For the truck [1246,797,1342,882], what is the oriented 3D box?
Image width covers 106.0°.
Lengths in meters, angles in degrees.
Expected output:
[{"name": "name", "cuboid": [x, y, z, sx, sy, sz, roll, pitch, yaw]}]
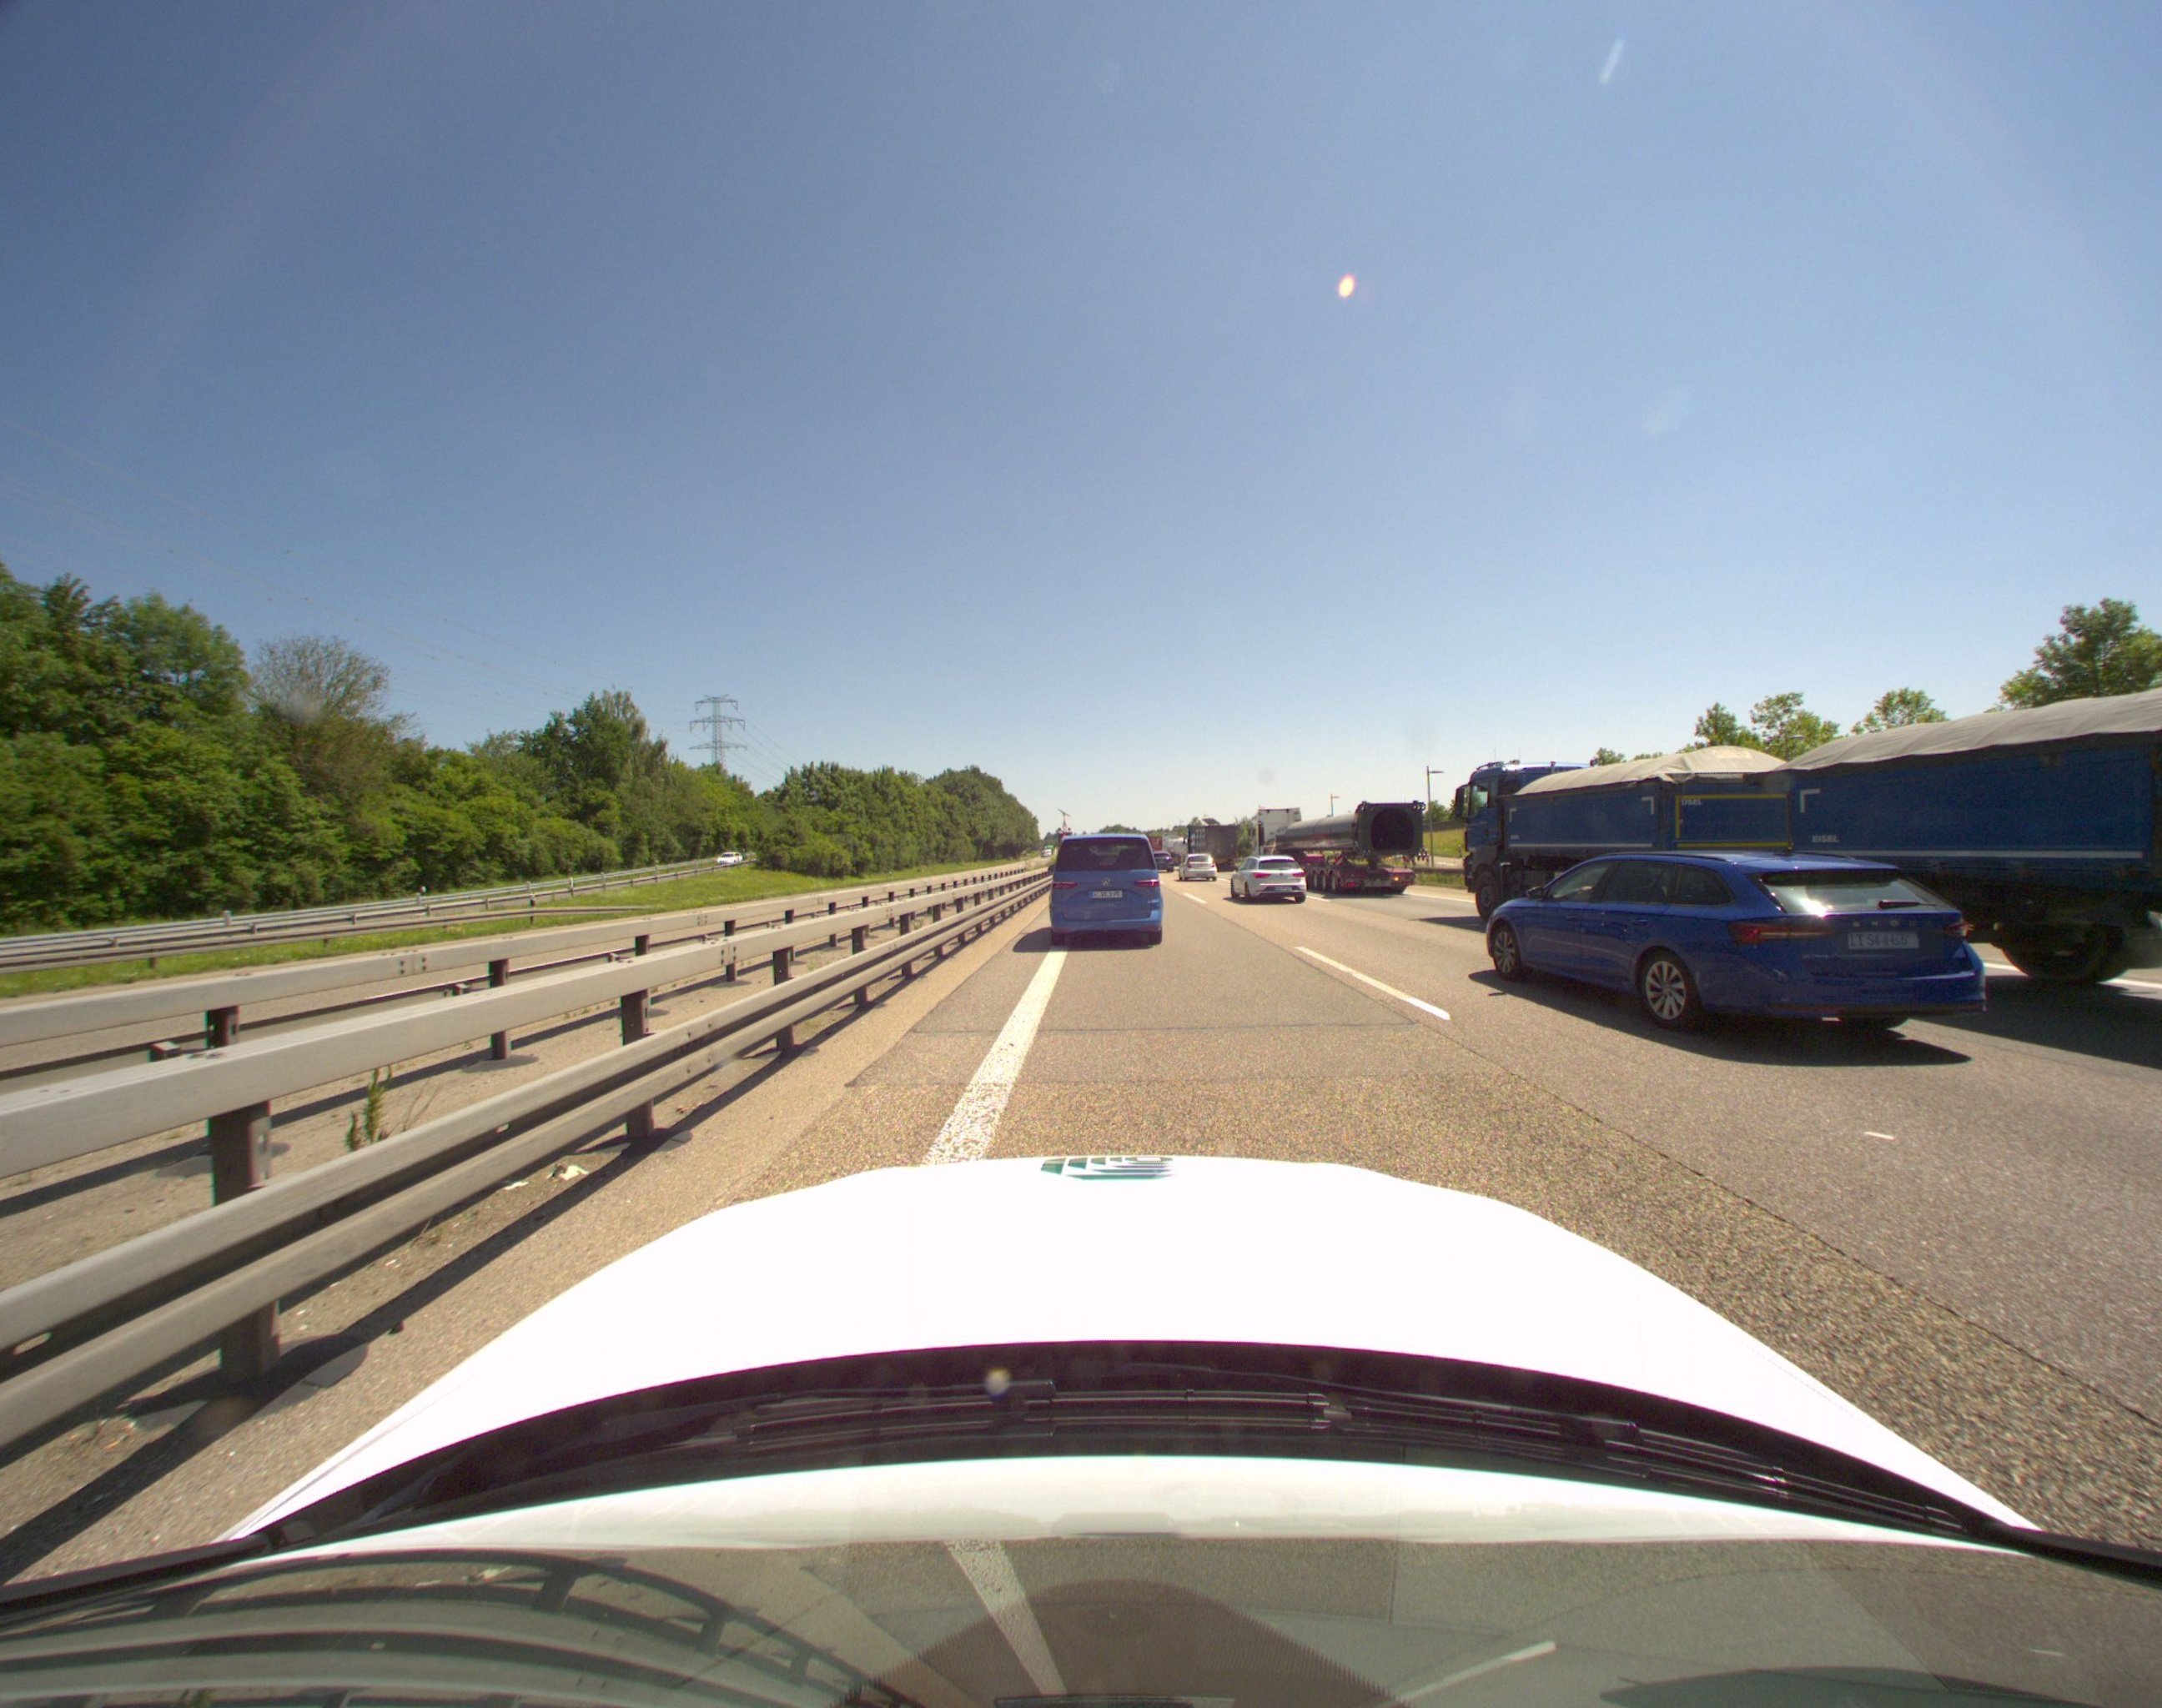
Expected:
[{"name": "truck", "cuboid": [11.133, -0.662, 43.405, 3.609, 4.095, 7.532, 0, -1, 4]}]

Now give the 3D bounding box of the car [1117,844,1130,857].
[{"name": "car", "cuboid": [8.646, -0.694, 166.593, 2.541, 2.717, 5.623, 0, -1, 1]}]

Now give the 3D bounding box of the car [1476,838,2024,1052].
[{"name": "car", "cuboid": [5.609, 0.649, 7.748, 1.699, 1.441, 4.430, 0, -1, 2]}]

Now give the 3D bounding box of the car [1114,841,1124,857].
[{"name": "car", "cuboid": [11.992, -1.421, 256.514, 2.706, 4.713, 11.563, 0, -1, 2]}]

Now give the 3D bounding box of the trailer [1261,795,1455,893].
[{"name": "trailer", "cuboid": [10.531, -0.194, 33.711, 3.630, 3.079, 15.787, 0, -1, 4]}]

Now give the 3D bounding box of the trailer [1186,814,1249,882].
[{"name": "trailer", "cuboid": [11.305, -0.372, 68.917, 3.632, 5.136, 13.083, 0, -1, 3]}]

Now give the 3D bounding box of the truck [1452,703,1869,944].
[{"name": "truck", "cuboid": [9.665, -0.436, 14.872, 2.733, 3.311, 7.136, 0, 0, 2]}]

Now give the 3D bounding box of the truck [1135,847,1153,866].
[{"name": "truck", "cuboid": [6.603, 0.290, 85.512, 1.719, 1.857, 4.001, 0, -1, 1]}]

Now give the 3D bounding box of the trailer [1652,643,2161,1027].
[{"name": "trailer", "cuboid": [9.396, -0.160, 7.097, 2.733, 2.836, 9.120, 0, 1, 2]}]

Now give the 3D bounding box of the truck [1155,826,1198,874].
[{"name": "truck", "cuboid": [11.291, -0.337, 97.790, 3.608, 5.213, 15.691, 0, -1, 1]}]

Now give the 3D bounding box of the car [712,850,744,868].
[{"name": "car", "cuboid": [-36.179, 0.517, 83.600, 1.632, 1.674, 4.890, 0, 1, -7]}]

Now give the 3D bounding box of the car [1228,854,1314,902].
[{"name": "car", "cuboid": [5.840, 0.694, 25.481, 1.860, 1.361, 4.002, 0, 0, 2]}]

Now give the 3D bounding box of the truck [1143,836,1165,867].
[{"name": "truck", "cuboid": [12.038, -0.303, 135.369, 3.057, 4.920, 10.693, 0, -1, 2]}]

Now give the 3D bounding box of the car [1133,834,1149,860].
[{"name": "car", "cuboid": [12.831, -1.393, 174.662, 3.206, 5.257, 8.147, 0, -1, 2]}]

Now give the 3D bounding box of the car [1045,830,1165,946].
[{"name": "car", "cuboid": [0.487, 0.573, 15.001, 1.893, 1.838, 4.003, 0, -1, 3]}]

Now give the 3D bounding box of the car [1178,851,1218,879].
[{"name": "car", "cuboid": [6.439, 0.603, 45.206, 1.833, 1.454, 4.002, 0, -1, 2]}]

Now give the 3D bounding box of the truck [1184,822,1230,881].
[{"name": "truck", "cuboid": [11.571, -0.195, 75.379, 3.644, 5.180, 5.712, 0, -1, 2]}]

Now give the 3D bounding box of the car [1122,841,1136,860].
[{"name": "car", "cuboid": [13.167, -0.959, 225.953, 3.210, 5.257, 8.138, 0, -1, -2]}]

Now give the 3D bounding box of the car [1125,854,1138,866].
[{"name": "car", "cuboid": [8.535, 0.963, 138.254, 1.986, 2.014, 4.001, 0, -1, 1]}]

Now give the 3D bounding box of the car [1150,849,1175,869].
[{"name": "car", "cuboid": [6.481, 0.432, 65.311, 1.774, 1.524, 4.002, 0, -1, 2]}]
